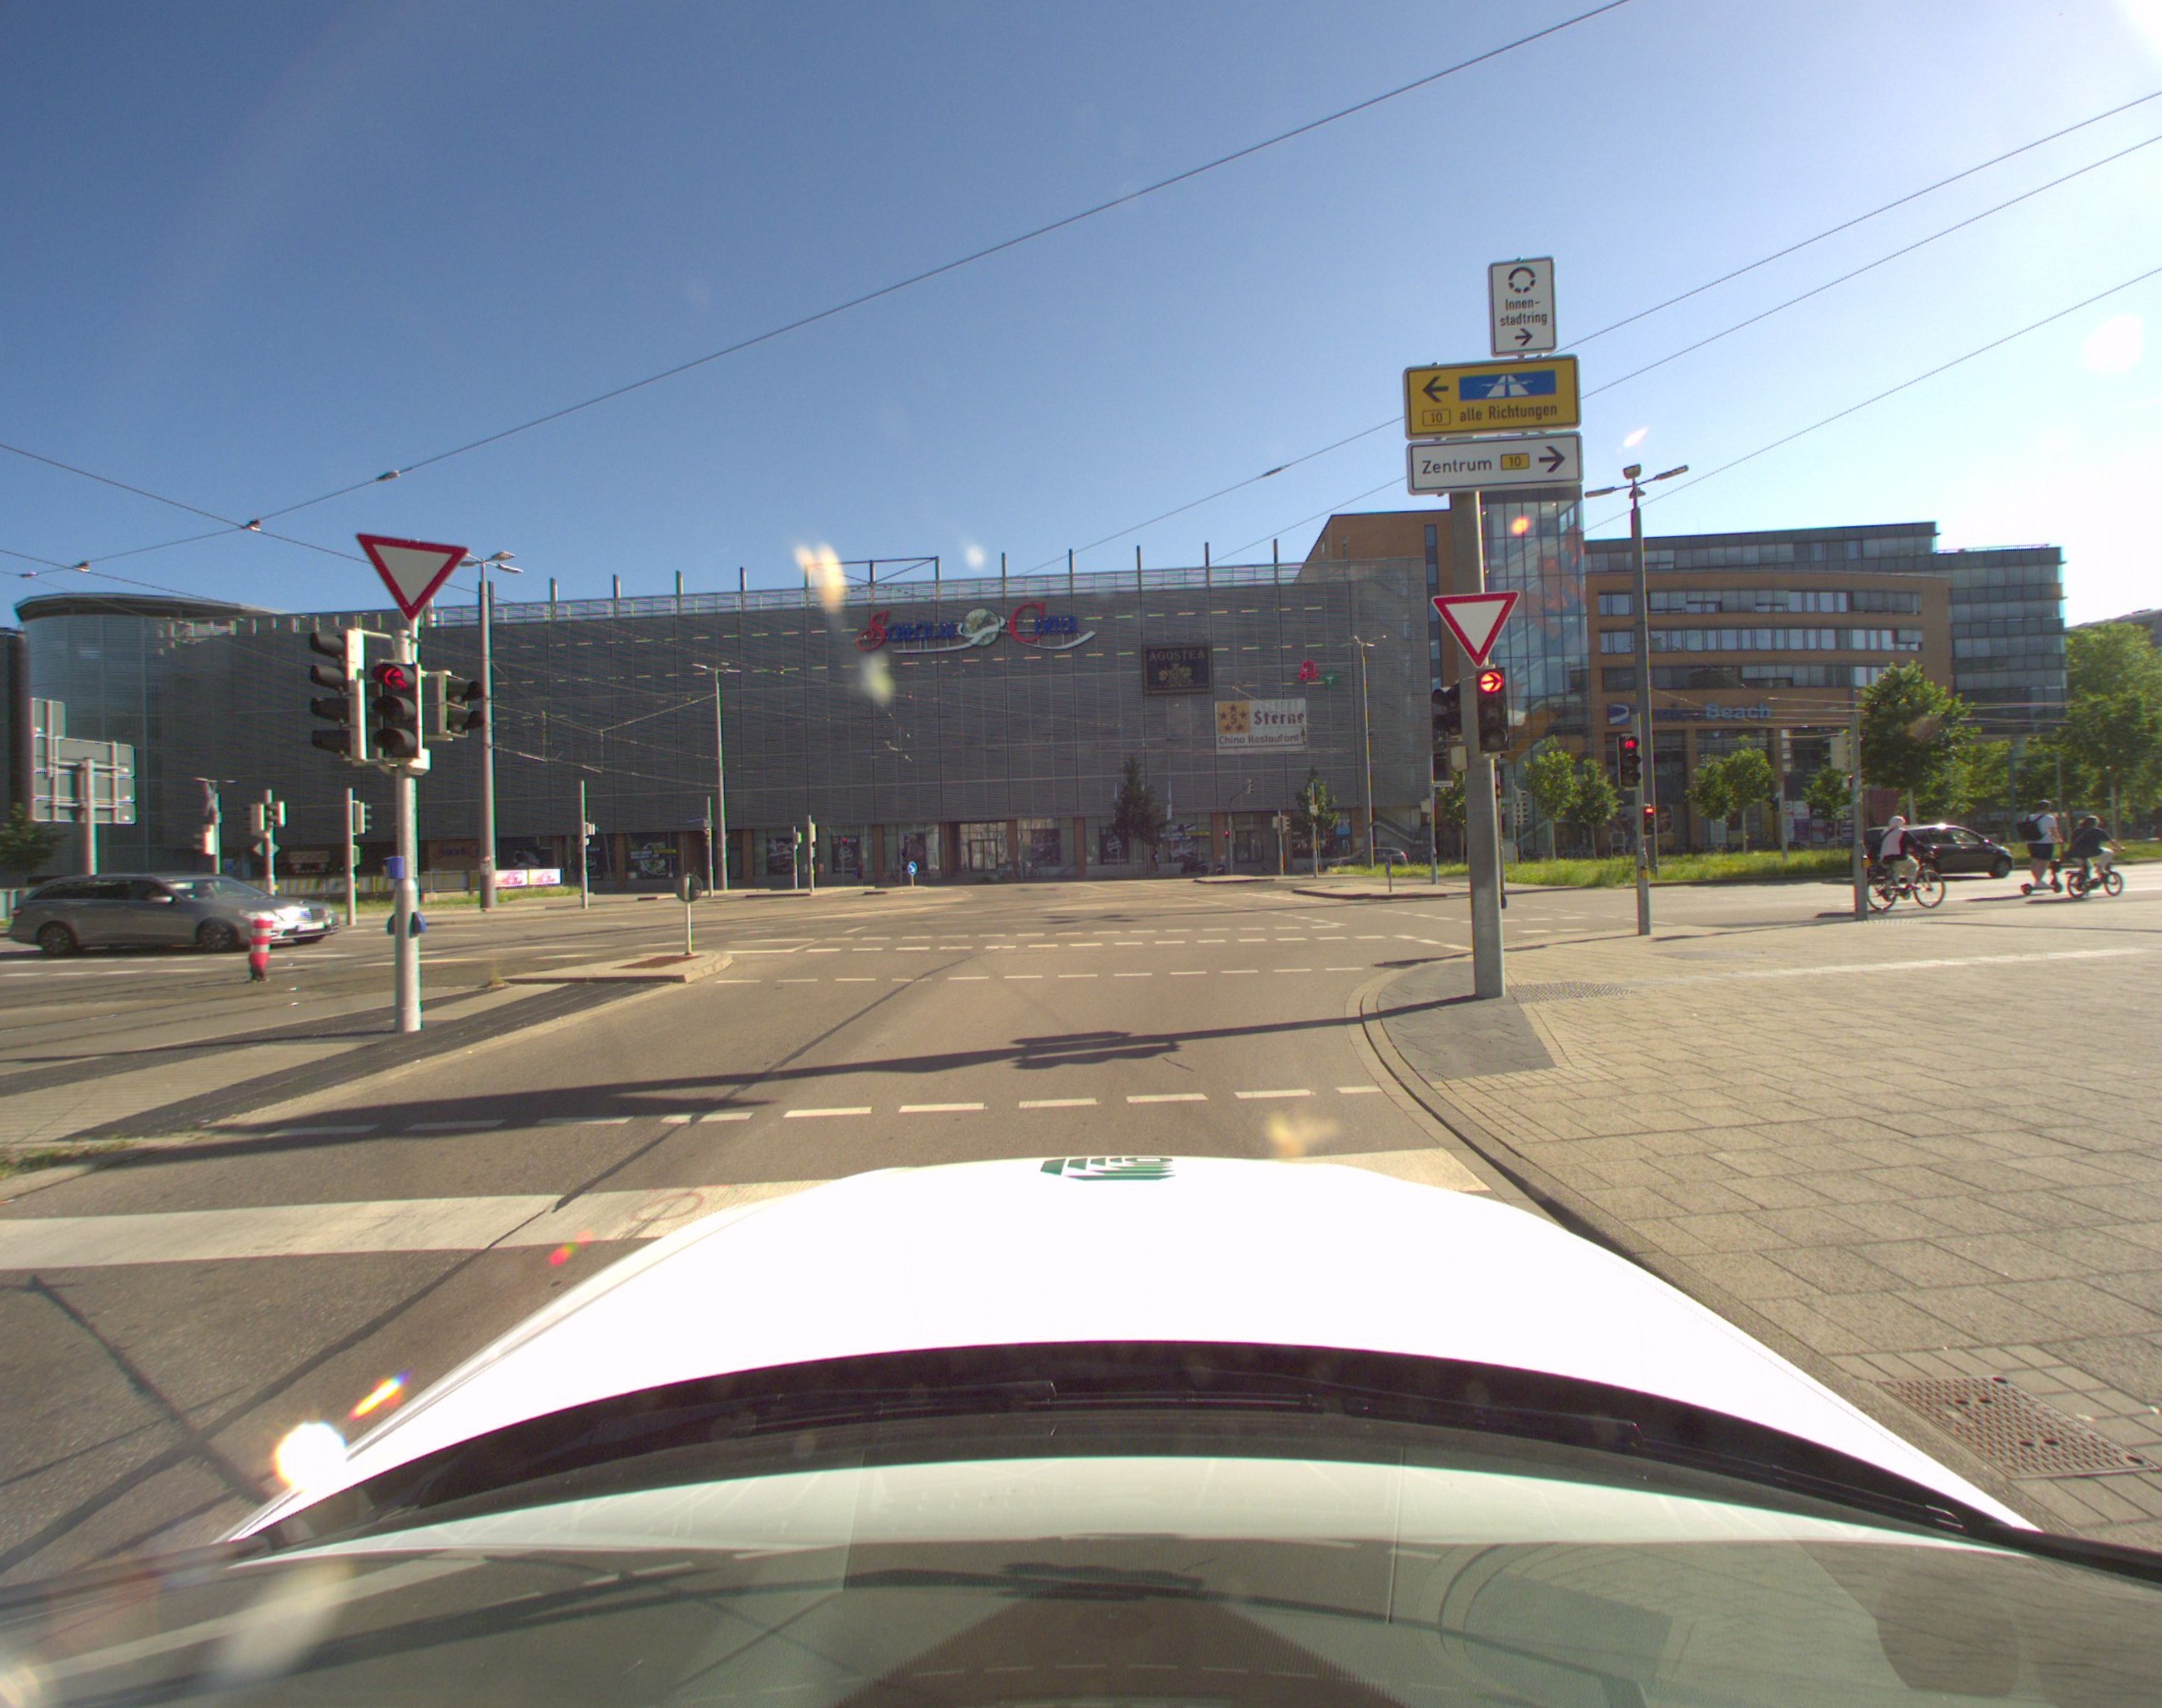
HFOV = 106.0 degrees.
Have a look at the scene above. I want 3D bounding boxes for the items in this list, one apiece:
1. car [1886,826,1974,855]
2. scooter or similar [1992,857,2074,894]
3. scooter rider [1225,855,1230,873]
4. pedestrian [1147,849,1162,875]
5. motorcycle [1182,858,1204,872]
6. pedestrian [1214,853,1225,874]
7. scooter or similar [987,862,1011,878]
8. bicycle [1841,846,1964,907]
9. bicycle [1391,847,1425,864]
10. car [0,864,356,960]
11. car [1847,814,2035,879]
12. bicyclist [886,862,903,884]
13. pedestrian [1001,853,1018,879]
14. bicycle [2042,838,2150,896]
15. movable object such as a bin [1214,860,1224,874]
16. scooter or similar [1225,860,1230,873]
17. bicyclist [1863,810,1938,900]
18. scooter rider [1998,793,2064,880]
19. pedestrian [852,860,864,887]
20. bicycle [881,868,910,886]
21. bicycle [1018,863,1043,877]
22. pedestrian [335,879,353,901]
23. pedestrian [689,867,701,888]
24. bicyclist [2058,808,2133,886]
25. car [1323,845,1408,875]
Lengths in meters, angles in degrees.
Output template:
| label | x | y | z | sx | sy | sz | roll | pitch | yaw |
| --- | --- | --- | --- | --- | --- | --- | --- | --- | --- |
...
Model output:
| label | x | y | z | sx | sy | sz | roll | pitch | yaw |
| --- | --- | --- | --- | --- | --- | --- | --- | --- | --- |
| car | 54.683 | -0.851 | 52.489 | 4.288 | 1.645 | 1.835 | 2 | -1 | -9 |
| scooter or similar | 20.731 | 0.462 | 17.750 | 1.208 | 0.786 | 0.613 | 0 | -1 | -9 |
| scooter rider | 9.909 | 0.701 | 54.949 | 0.286 | 1.200 | 0.387 | -1 | -1 | 12 |
| pedestrian | 5.338 | 0.579 | 59.074 | 1.007 | 1.828 | 1.037 | -3 | 0 | 5 |
| motorcycle | 8.314 | 0.825 | 60.596 | 1.630 | 1.004 | 0.448 | 0 | 0 | 8 |
| pedestrian | 9.406 | 0.626 | 55.202 | 0.650 | 1.414 | 0.853 | -1 | -1 | 12 |
| scooter or similar | -6.182 | 1.196 | 61.232 | 1.790 | 1.066 | 0.611 | -2 | 1 | -6 |
| bicycle | 15.874 | 0.426 | 15.747 | 1.897 | 1.137 | 0.580 | -1 | -1 | -5 |
| bicycle | 24.344 | 0.109 | 60.619 | 2.247 | 1.296 | 0.606 | 0 | -1 | 0 |
| car | -17.165 | 1.061 | 15.640 | 4.842 | 1.572 | 1.706 | -2 | 0 | -2 |
| car | 23.927 | -0.213 | 22.727 | 3.683 | 1.646 | 1.644 | -1 | 0 | -5 |
| bicyclist | -12.627 | 1.266 | 55.238 | 0.667 | 1.427 | 0.855 | -1 | 2 | 45 |
| pedestrian | -5.240 | 0.906 | 59.897 | 0.945 | 1.828 | 0.848 | -3 | 0 | 7 |
| bicycle | 20.822 | 0.260 | 16.717 | 1.753 | 1.137 | 0.585 | 0 | -1 | -9 |
| movable object such as a bin | 9.273 | 0.877 | 54.739 | 0.608 | 0.904 | 0.972 | -1 | -1 | 12 |
| scooter or similar | 9.921 | 0.864 | 55.008 | 0.293 | 0.873 | 1.007 | -1 | -1 | 12 |
| bicyclist | 15.840 | 0.012 | 15.755 | 0.881 | 1.707 | 0.573 | 0 | -1 | -5 |
| scooter rider | 20.709 | -0.375 | 17.760 | 0.783 | 1.872 | 0.572 | 0 | -1 | -8 |
| pedestrian | -15.201 | 1.302 | 55.463 | 0.695 | 1.797 | 0.727 | -3 | 0 | -14 |
| bicycle | -12.584 | 1.576 | 55.311 | 0.562 | 1.086 | 1.874 | -1 | 2 | 45 |
| bicycle | -3.780 | 1.167 | 60.791 | 1.815 | 0.989 | 0.556 | -2 | 1 | -8 |
| pedestrian | -52.652 | 2.561 | 58.162 | 0.656 | 1.601 | 0.652 | 0 | -1 | 8 |
| pedestrian | -30.051 | 1.809 | 63.408 | 0.654 | 1.601 | 0.597 | -1 | -1 | 20 |
| bicyclist | 20.848 | -0.141 | 16.743 | 0.882 | 1.566 | 0.572 | 0 | -1 | -8 |
| car | 15.884 | 0.345 | 45.620 | 4.132 | 1.470 | 1.841 | 2 | -1 | 0 |
